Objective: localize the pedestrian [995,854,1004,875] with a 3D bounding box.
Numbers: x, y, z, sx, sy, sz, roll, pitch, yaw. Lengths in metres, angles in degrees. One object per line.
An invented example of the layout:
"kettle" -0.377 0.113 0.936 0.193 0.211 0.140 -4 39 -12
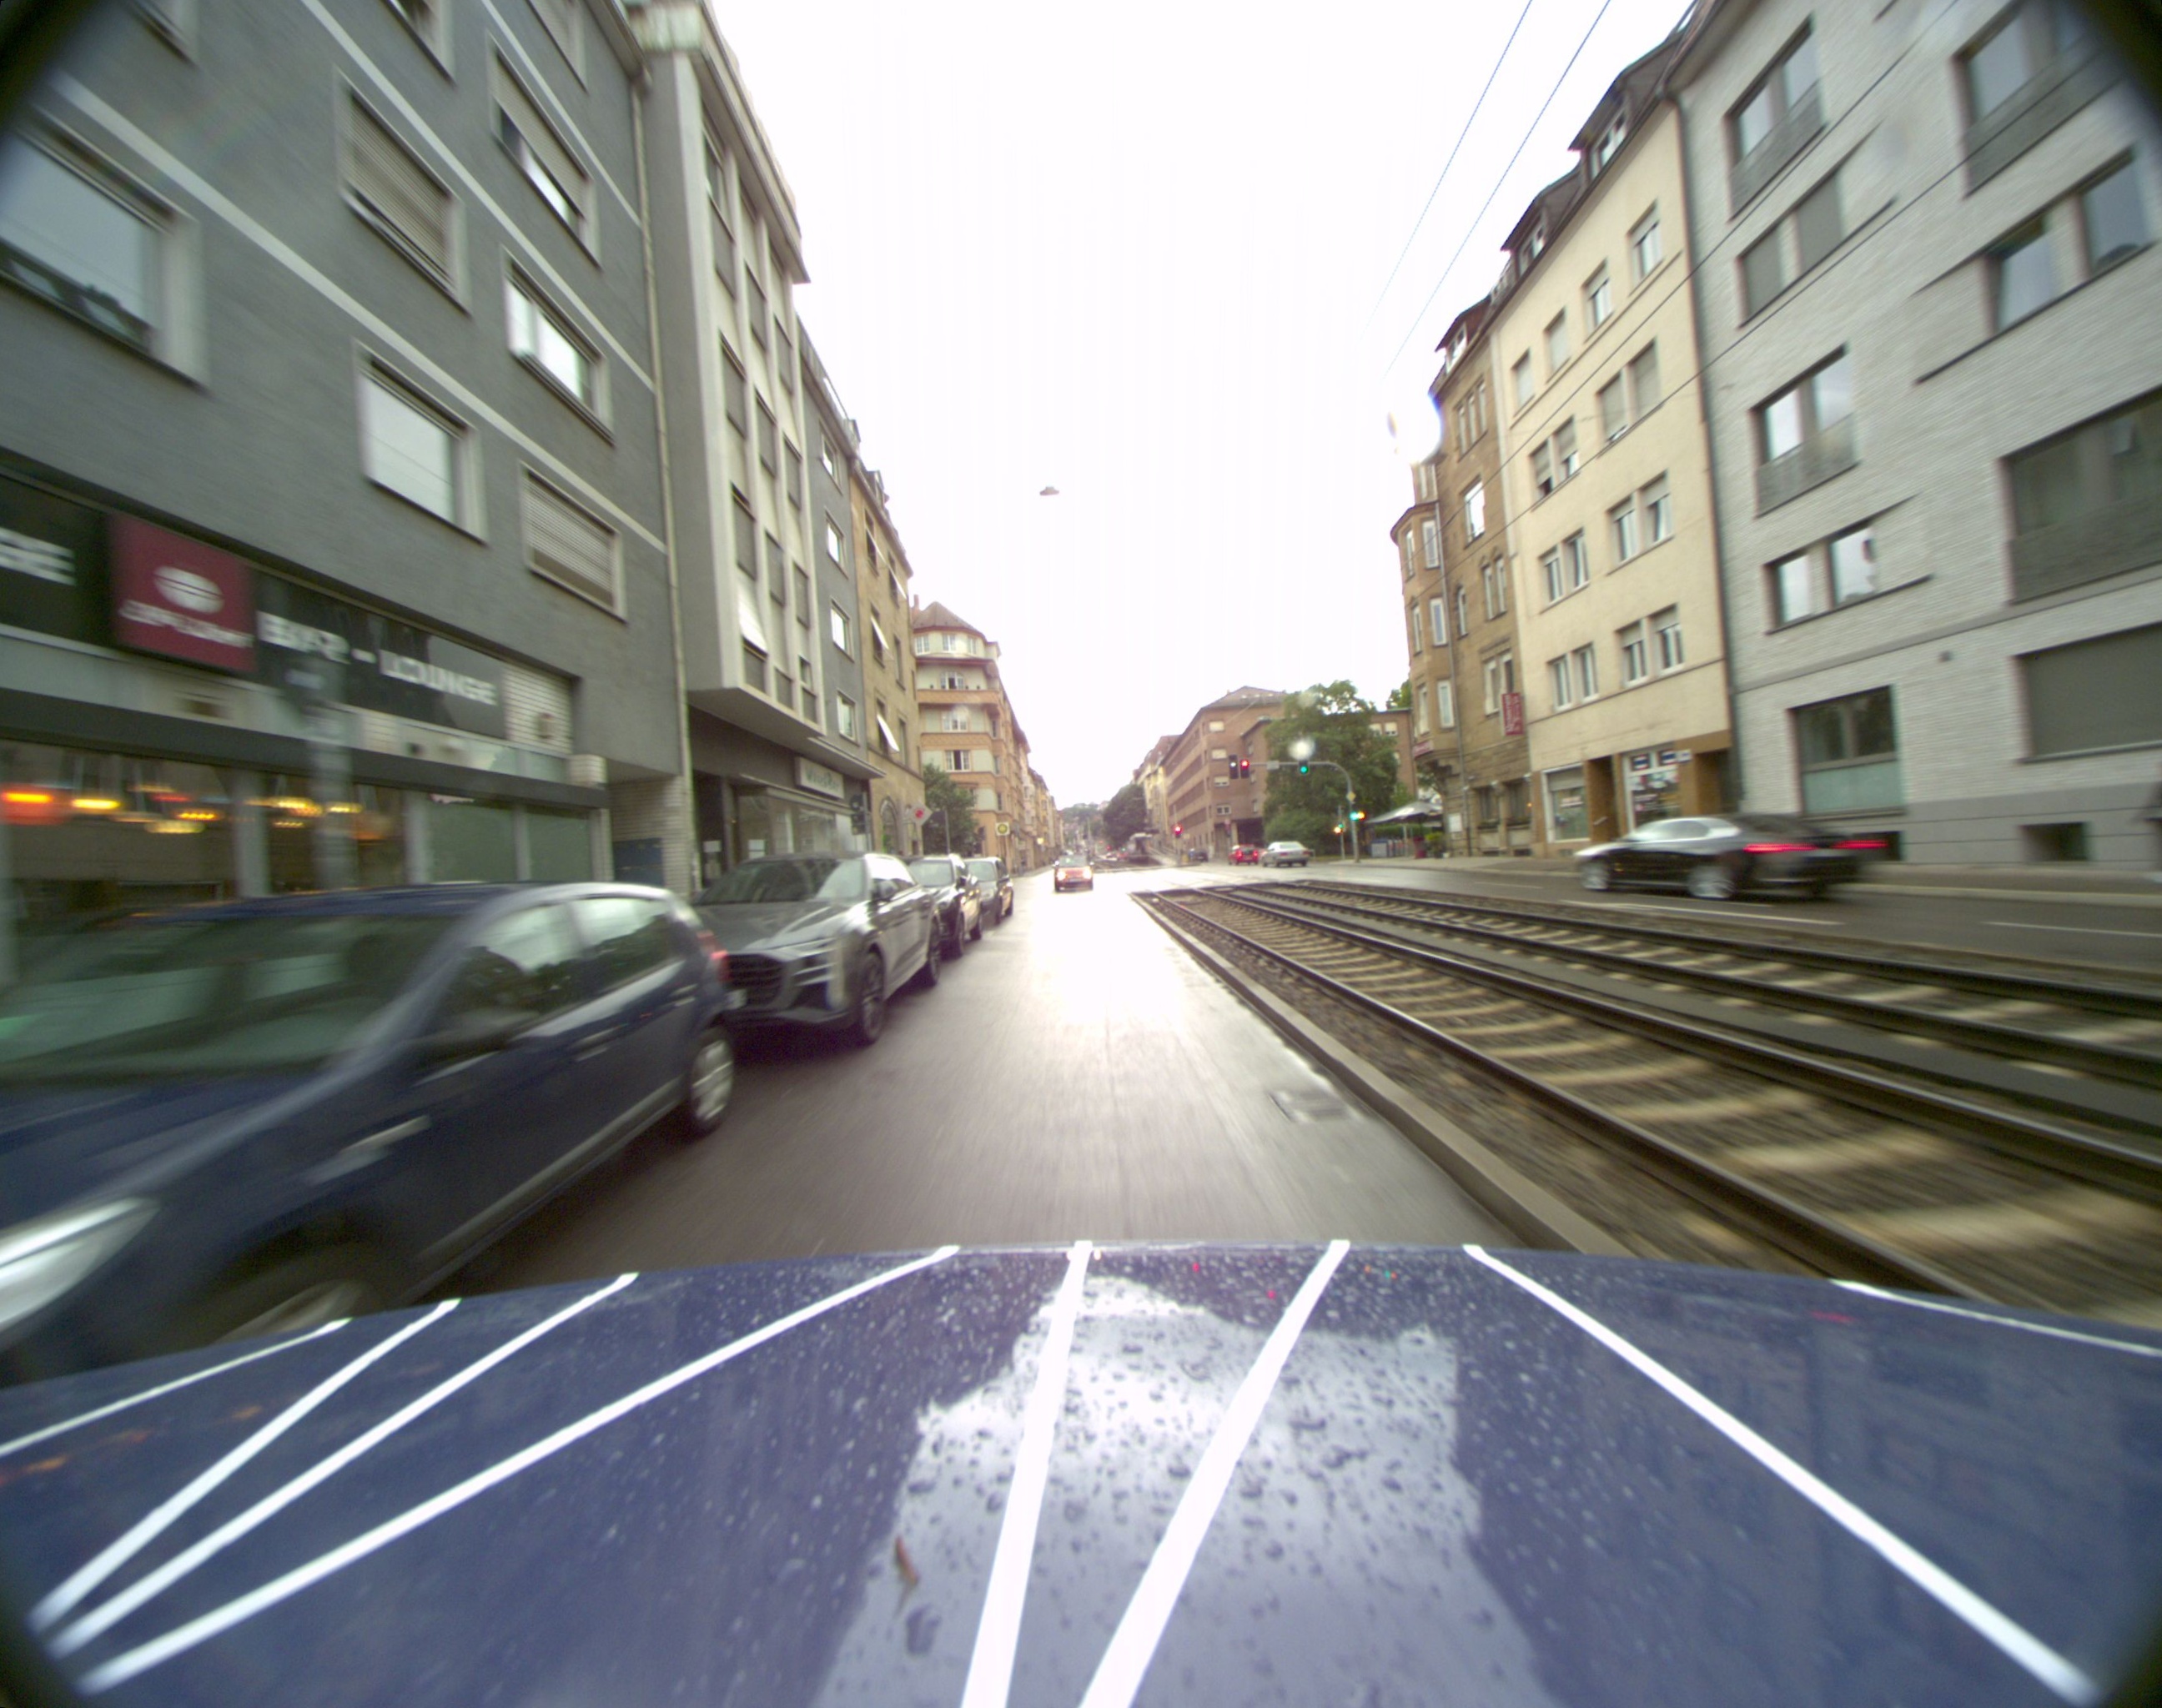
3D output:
"pedestrian" -6.340 0.814 59.252 0.579 1.563 0.438 -3 1 -1

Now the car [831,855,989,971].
"car" -2.798 0.887 13.430 1.822 1.645 4.250 -2 0 0

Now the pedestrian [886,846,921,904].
"pedestrian" -5.692 0.653 24.405 0.852 1.807 0.847 -2 1 0

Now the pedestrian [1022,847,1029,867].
"pedestrian" -4.625 0.237 62.856 0.437 1.643 0.579 -3 1 -1

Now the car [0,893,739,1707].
"car" -2.858 1.012 2.703 1.696 1.474 3.928 -2 0 -4

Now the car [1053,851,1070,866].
"car" -2.838 0.696 110.850 2.135 2.002 4.328 -3 1 0

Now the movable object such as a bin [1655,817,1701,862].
"movable object such as a bin" 15.703 -0.378 19.993 0.631 1.074 0.563 -8 1 0

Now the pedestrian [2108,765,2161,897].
"pedestrian" 14.401 -0.314 10.009 0.603 1.708 0.746 -6 1 3

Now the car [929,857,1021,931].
"car" -2.585 0.916 19.486 1.715 1.604 4.518 -2 0 0

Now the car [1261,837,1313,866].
"car" 11.867 -0.156 44.096 1.717 1.452 4.642 -3 0 1

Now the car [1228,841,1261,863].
"car" 12.046 -0.150 56.165 1.631 1.442 3.387 -3 0 0

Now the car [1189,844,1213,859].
"car" 12.070 -0.253 76.700 1.781 1.328 3.945 -3 0 0

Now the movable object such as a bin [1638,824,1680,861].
"movable object such as a bin" 15.797 -0.312 20.771 0.631 0.922 0.563 -8 1 0

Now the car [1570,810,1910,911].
"car" 11.559 0.079 13.956 2.093 1.449 4.859 -2 0 2

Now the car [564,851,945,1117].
"car" -2.701 0.907 7.626 1.797 1.750 4.565 -3 0 -1

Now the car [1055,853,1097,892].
"car" -0.224 0.748 33.588 1.683 1.531 4.018 -3 0 0

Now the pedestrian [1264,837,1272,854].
"pedestrian" 18.764 -0.829 76.350 0.623 1.736 0.464 -1 1 -3
